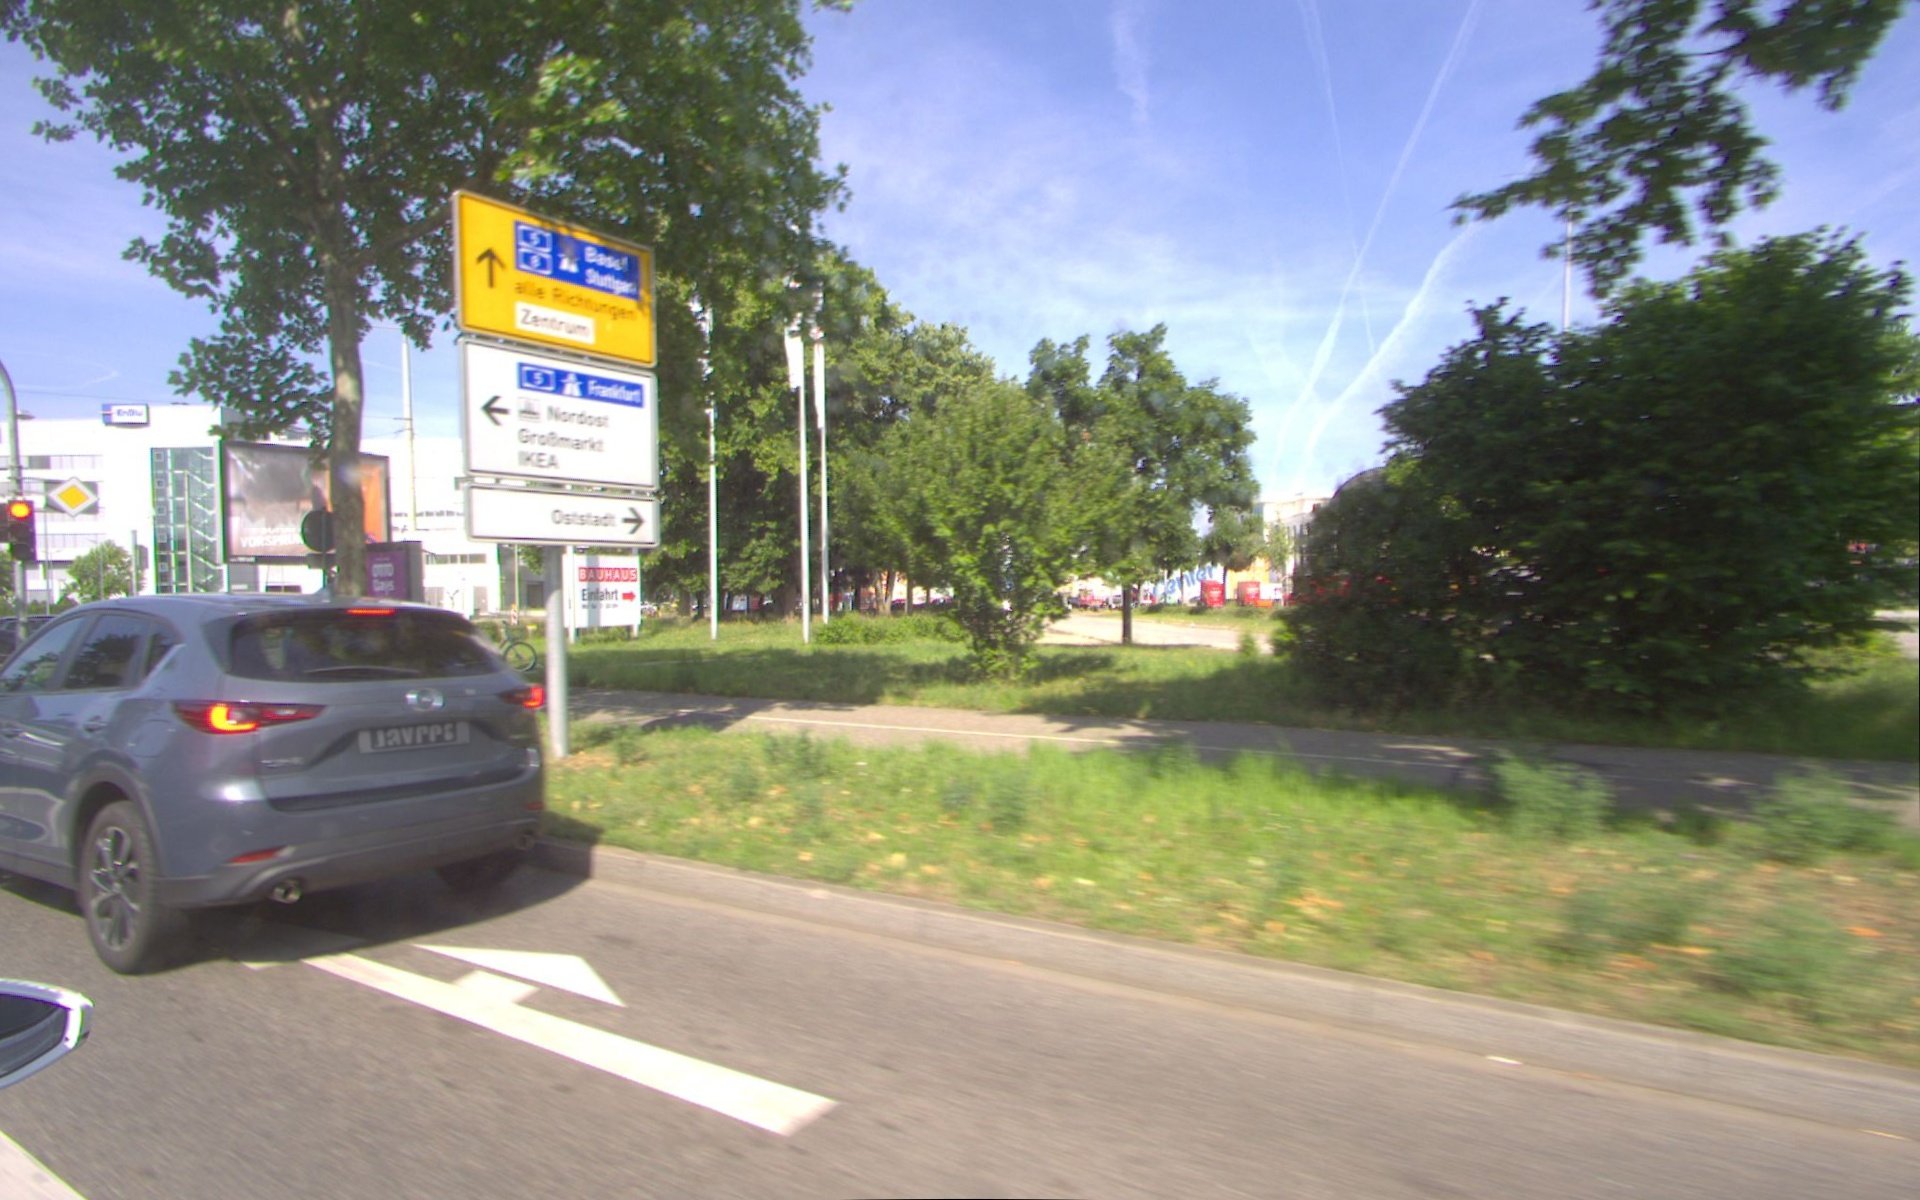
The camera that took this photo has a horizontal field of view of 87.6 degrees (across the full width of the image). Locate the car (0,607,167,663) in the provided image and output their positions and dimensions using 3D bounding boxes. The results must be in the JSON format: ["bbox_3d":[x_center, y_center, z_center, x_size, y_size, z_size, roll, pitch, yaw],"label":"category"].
[{"bbox_3d":[-27.013,1.009,30.323,1.826,1.530,4.367,-1,0,34],"label":"car"}]

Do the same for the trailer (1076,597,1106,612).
[{"bbox_3d":[11.318,0.385,86.808,1.560,1.304,4.409,-1,0,-7],"label":"trailer"}]

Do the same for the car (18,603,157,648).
[{"bbox_3d":[-36.130,1.012,41.652,1.879,1.711,4.625,-1,0,-4],"label":"car"}]

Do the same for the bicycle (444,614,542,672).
[{"bbox_3d":[-9.894,0.892,21.257,1.770,1.123,0.499,-3,2,-39],"label":"bicycle"}]

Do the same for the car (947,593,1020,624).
[{"bbox_3d":[1.336,0.474,56.249,3.972,1.608,1.730,-1,0,5],"label":"car"}]

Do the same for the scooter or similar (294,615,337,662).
[{"bbox_3d":[-15.967,0.942,24.805,1.108,1.141,0.423,0,1,32],"label":"scooter or similar"}]

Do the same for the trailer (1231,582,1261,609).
[{"bbox_3d":[25.150,-0.420,88.266,1.520,2.390,4.410,0,1,2],"label":"trailer"}]

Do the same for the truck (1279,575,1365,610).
[{"bbox_3d":[27.525,-0.571,76.249,5.914,2.644,2.018,0,1,-6],"label":"truck"}]

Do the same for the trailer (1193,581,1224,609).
[{"bbox_3d":[22.006,-0.428,88.902,1.560,2.408,4.410,0,1,-1],"label":"trailer"}]

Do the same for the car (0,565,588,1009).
[{"bbox_3d":[-4.308,0.763,5.726,4.431,1.680,1.763,-1,-2,32],"label":"car"}]

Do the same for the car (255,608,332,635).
[{"bbox_3d":[-39.888,1.270,60.069,1.747,1.463,4.625,-1,0,-4],"label":"car"}]

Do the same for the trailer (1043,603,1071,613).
[{"bbox_3d":[8.300,0.701,86.076,2.059,0.792,4.411,-1,0,1],"label":"trailer"}]

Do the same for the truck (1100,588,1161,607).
[{"bbox_3d":[17.703,-0.237,104.039,5.888,1.855,2.188,0,-2,-2],"label":"truck"}]

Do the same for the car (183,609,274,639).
[{"bbox_3d":[-39.661,1.277,54.424,1.747,1.463,4.625,-1,0,-4],"label":"car"}]
